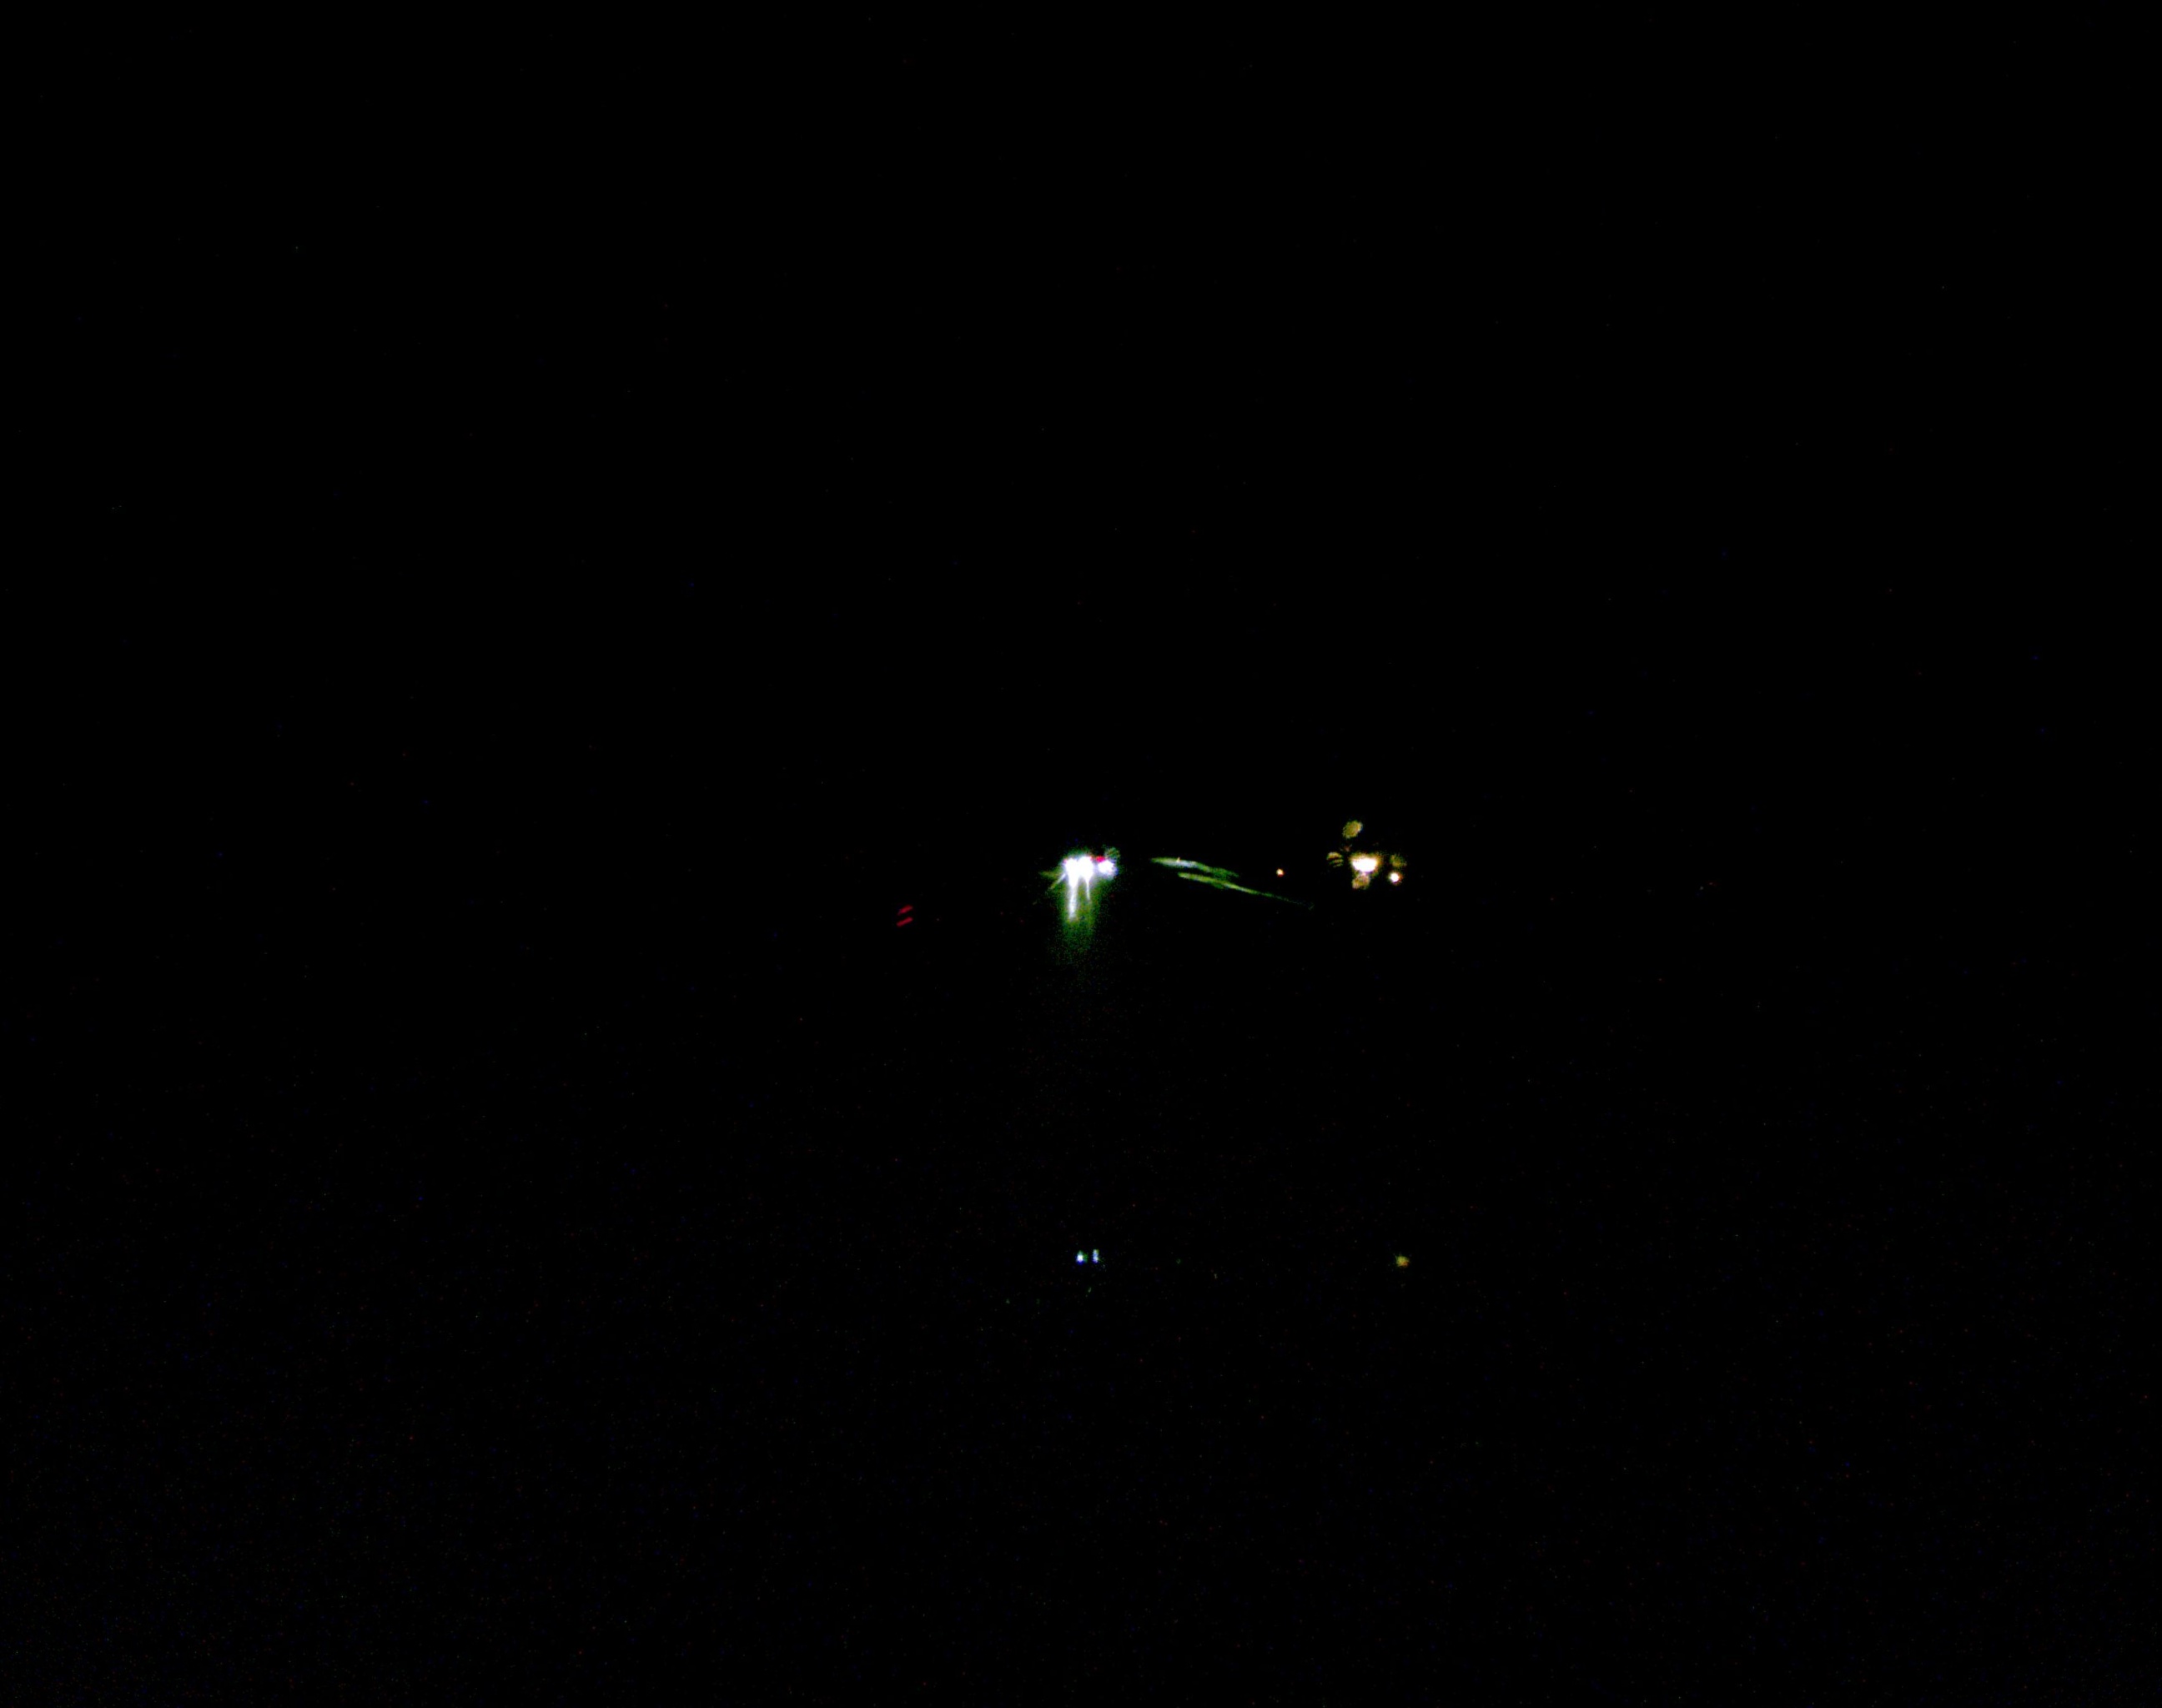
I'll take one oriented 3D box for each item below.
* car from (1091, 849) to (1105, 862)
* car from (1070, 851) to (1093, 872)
[{"bbox_3d":[2.538,0.239,112.627,1.785,1.657,4.471,-6,0,0],"label":"car"},{"bbox_3d":[0.059,0.852,86.248,1.999,2.003,3.996,-7,2,-6],"label":"car"}]
